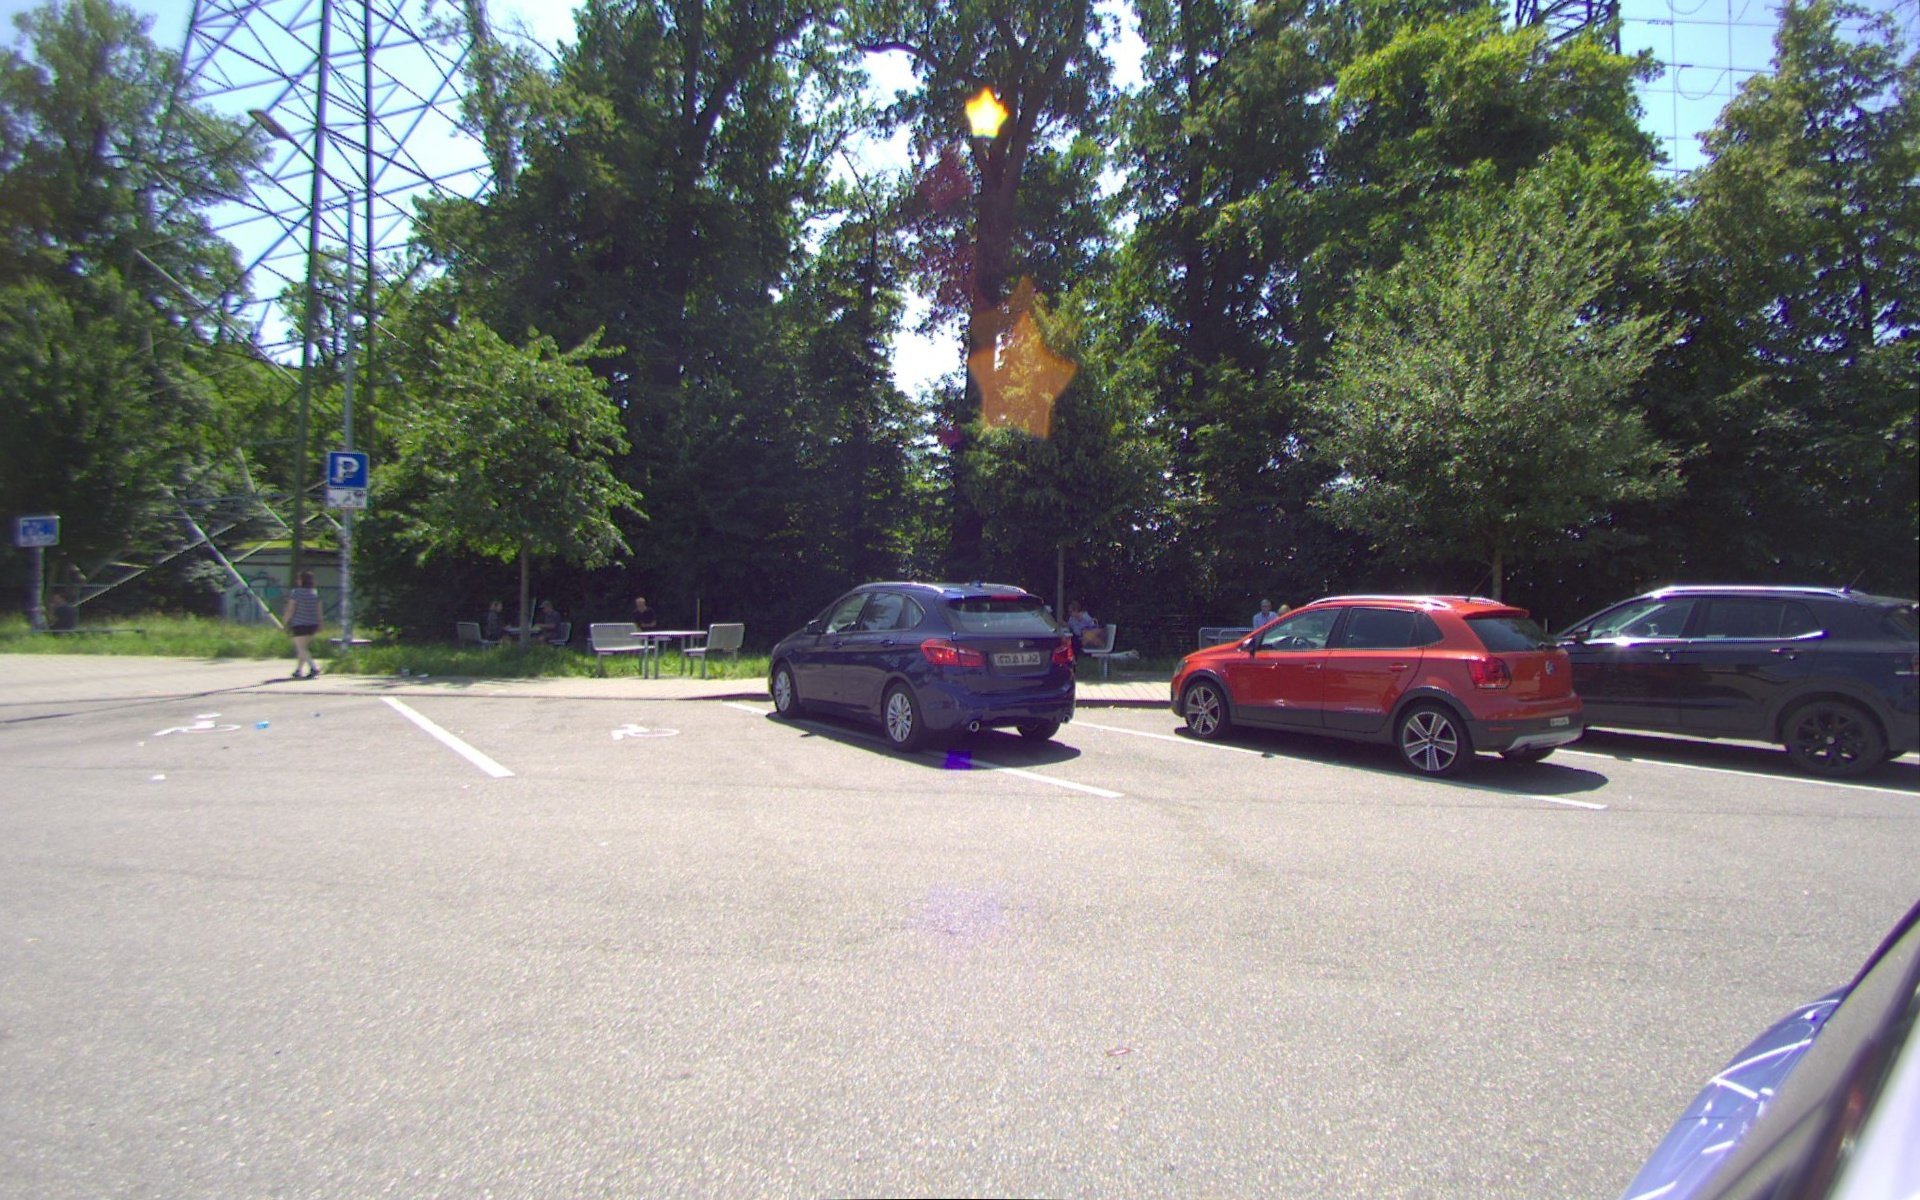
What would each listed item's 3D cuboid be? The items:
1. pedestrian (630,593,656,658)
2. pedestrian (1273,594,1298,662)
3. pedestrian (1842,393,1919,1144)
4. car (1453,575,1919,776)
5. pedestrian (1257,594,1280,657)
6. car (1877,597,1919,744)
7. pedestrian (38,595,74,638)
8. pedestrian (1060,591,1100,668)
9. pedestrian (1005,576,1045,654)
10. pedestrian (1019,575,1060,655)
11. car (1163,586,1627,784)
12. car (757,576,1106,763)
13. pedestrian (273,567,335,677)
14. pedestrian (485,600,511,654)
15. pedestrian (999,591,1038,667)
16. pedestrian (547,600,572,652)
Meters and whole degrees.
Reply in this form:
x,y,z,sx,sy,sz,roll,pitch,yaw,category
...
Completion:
x,y,z,sx,sy,sz,roll,pitch,yaw,category
-6.685,0.531,21.347,0.438,1.363,0.462,0,0,-5,pedestrian
5.772,0.490,17.951,0.350,1.180,0.384,0,0,8,pedestrian
2.904,0.445,2.411,0.799,1.974,0.919,0,0,5,pedestrian
7.098,0.581,9.866,1.620,1.575,3.826,0,0,-37,car
5.821,0.478,19.127,0.350,1.180,0.384,0,0,8,pedestrian
10.898,0.692,9.011,1.620,1.420,3.826,0,0,-37,car
-20.950,0.381,23.459,0.452,0.987,0.447,0,0,-2,pedestrian
2.004,0.480,16.857,0.586,1.261,0.498,0,0,16,pedestrian
1.390,0.303,21.591,0.570,1.625,0.637,0,0,43,pedestrian
1.641,0.308,20.956,0.570,1.625,0.637,0,0,43,pedestrian
3.882,0.623,9.649,1.619,1.487,3.830,0,0,-33,car
-0.540,0.539,10.789,1.714,1.572,4.347,0,1,-33,car
-10.285,0.326,15.864,0.713,1.670,0.677,0,0,44,pedestrian
-10.432,0.598,22.859,0.452,1.182,0.447,0,0,-34,pedestrian
0.991,0.483,17.114,0.586,1.261,0.445,0,0,16,pedestrian
-9.343,0.599,23.600,0.452,1.209,0.447,0,0,-34,pedestrian
